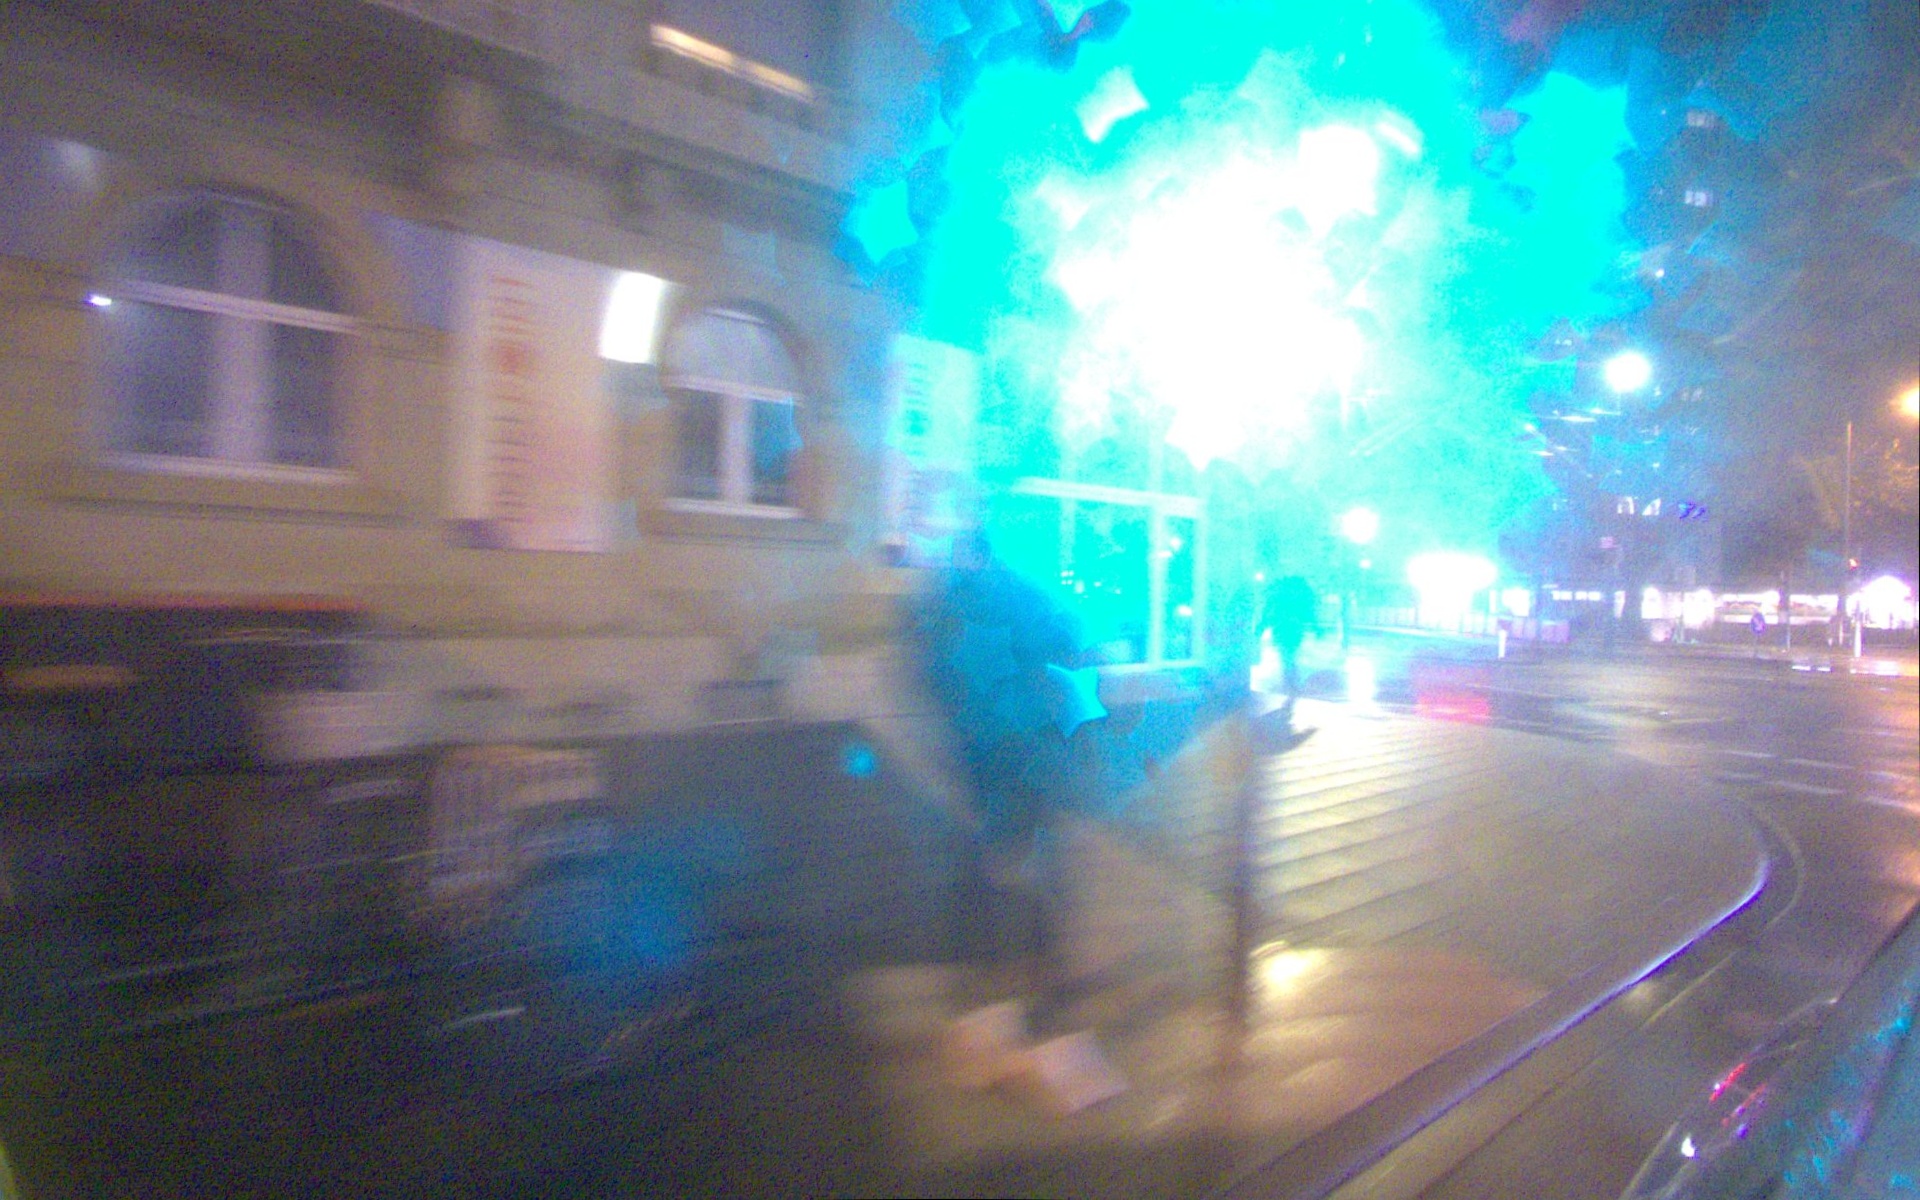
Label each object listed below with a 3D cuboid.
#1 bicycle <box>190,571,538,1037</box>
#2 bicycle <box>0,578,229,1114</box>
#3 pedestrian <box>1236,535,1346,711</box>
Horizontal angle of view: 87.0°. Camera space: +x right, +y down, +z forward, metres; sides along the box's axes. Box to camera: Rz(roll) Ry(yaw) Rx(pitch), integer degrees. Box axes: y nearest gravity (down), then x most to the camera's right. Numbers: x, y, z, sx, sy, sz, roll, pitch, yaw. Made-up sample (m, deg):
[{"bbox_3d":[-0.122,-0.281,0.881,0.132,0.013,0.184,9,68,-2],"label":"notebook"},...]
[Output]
[{"bbox_3d":[-2.320,0.563,3.806,0.699,1.267,1.899,0,3,-44],"label":"bicycle"},{"bbox_3d":[-2.915,0.599,3.309,0.586,1.267,1.899,0,3,-44],"label":"bicycle"},{"bbox_3d":[4.061,0.261,12.397,1.010,2.039,0.964,1,-1,37],"label":"pedestrian"}]
